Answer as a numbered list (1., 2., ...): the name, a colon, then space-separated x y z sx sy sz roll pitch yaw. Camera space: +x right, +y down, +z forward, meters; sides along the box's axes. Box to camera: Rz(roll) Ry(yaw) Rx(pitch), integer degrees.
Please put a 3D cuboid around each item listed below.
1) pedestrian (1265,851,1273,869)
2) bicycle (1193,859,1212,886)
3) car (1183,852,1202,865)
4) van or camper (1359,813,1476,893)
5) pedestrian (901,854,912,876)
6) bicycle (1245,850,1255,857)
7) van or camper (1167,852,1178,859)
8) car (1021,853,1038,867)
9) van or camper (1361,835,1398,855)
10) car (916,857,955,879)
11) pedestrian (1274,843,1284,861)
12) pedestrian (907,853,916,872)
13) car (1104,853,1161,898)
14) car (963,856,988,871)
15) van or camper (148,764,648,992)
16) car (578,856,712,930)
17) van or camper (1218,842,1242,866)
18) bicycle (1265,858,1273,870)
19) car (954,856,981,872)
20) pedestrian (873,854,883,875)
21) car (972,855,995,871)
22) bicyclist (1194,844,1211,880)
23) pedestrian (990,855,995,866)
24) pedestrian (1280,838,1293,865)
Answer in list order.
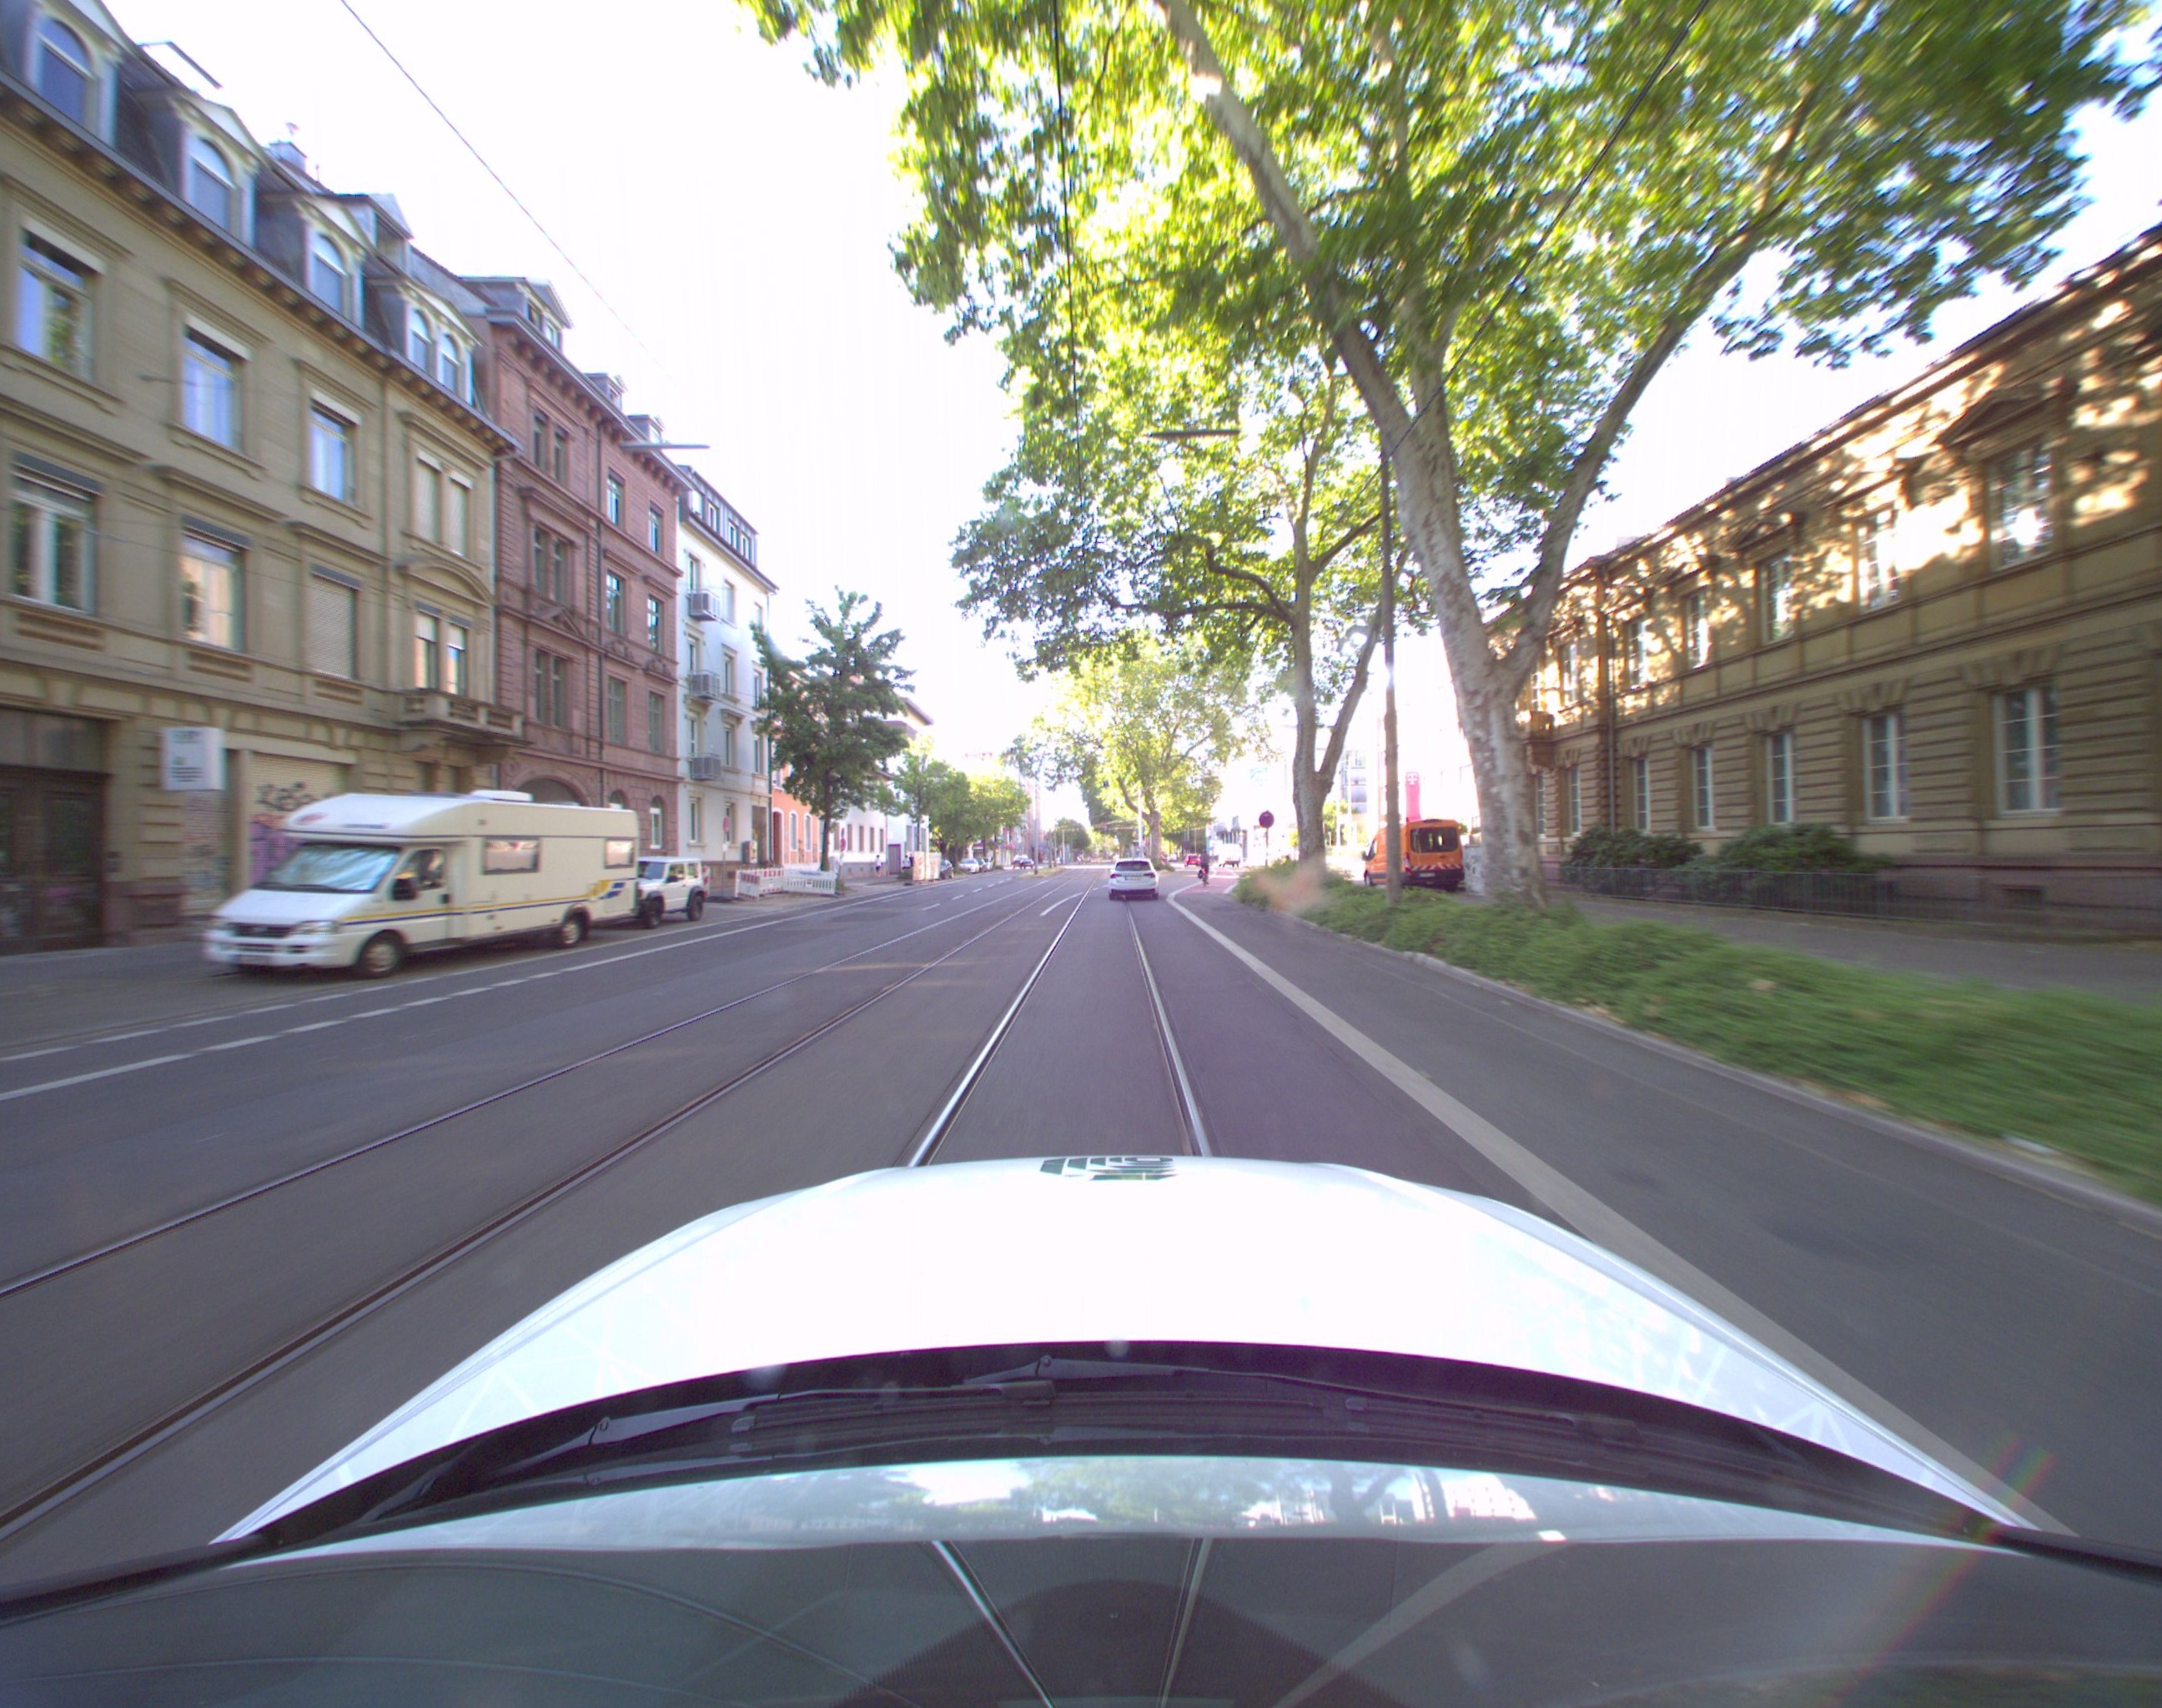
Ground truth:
1. pedestrian: 17.239 0.555 74.726 0.665 1.619 1.106 -3 -1 11
2. bicycle: 5.850 0.857 39.091 0.738 1.224 2.164 1 0 13
3. car: 13.345 0.534 97.537 1.832 1.489 3.718 -1 0 2
4. van or camper: 11.849 -0.042 29.191 2.027 2.559 5.778 -1 0 3
5. pedestrian: -12.830 0.786 59.997 0.633 1.620 0.732 0 0 0
6. bicycle: 34.072 -0.139 164.135 1.928 1.443 0.575 -1 0 0
7. van or camper: 24.995 0.417 222.673 2.139 1.750 4.429 -2 0 -1
8. car: -6.803 0.796 107.647 1.987 1.689 4.309 -1 0 -1
9. van or camper: 30.480 -0.929 83.346 1.973 1.909 5.000 -2 0 1
10. car: -10.829 1.002 60.874 1.987 1.513 4.725 -1 0 0
11. pedestrian: 19.436 -0.239 80.067 0.782 1.748 0.773 -2 0 6
12. pedestrian: -14.392 0.721 69.295 0.592 1.570 0.639 -1 0 -1
13. car: 1.920 0.730 29.282 1.792 1.501 3.989 0 0 7
14. car: -10.817 0.944 84.016 1.987 1.476 4.648 -1 0 -1
15. van or camper: -11.037 0.310 14.470 2.410 2.947 7.255 2 0 2
16. car: -11.019 0.928 20.862 1.626 1.706 3.369 2 0 -2
17. van or camper: 17.338 0.007 94.993 2.258 2.733 6.357 1 0 6
18. bicycle: 17.254 0.908 74.719 0.670 1.032 1.907 -3 0 12
19. car: -10.828 0.959 78.094 1.987 1.471 4.404 -1 0 -1
20. pedestrian: -15.021 0.783 60.279 0.592 1.570 0.639 -1 0 -1
21. car: -10.846 0.932 90.905 1.987 1.689 4.177 -1 0 -1
22. bicyclist: 5.822 0.372 38.947 0.738 1.669 0.747 1 0 13
23. pedestrian: -14.407 1.084 132.681 0.707 1.662 1.032 -2 0 -3
24. pedestrian: 13.236 -0.147 52.500 0.690 1.684 0.935 -1 0 19
